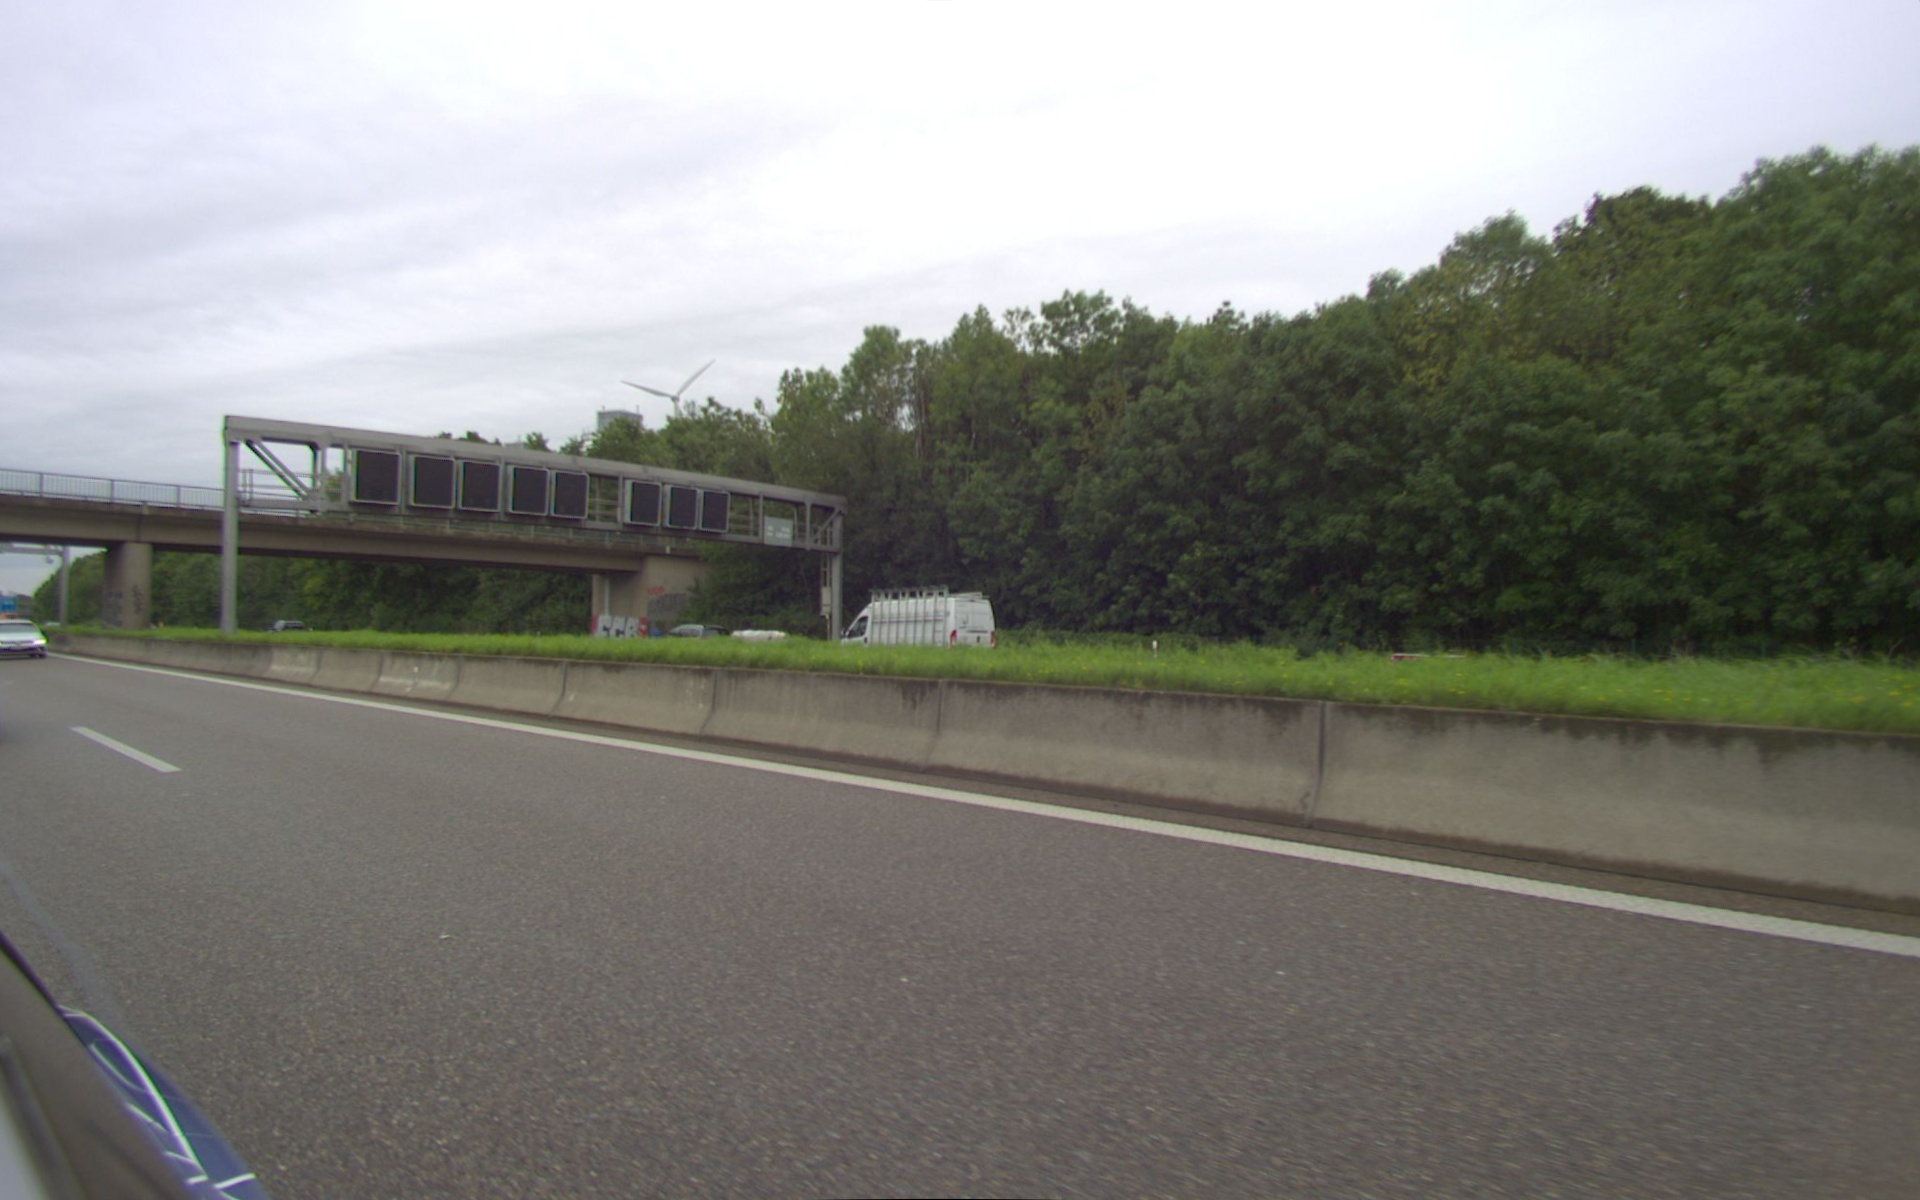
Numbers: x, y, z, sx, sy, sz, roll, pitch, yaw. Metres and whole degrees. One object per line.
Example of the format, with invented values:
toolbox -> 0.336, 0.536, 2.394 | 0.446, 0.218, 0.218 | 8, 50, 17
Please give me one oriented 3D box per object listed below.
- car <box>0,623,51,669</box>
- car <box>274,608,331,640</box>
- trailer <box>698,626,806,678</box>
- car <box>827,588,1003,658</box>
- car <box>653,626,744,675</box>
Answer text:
car -> -36.097, 1.713, 38.480 | 4.662, 1.630, 1.734 | -1, -2, 41
car -> -41.537, 1.522, 63.908 | 3.998, 1.954, 1.973 | -1, -1, 41
trailer -> -9.090, 2.194, 43.998 | 5.177, 2.029, 1.972 | -1, 0, 43
car -> -1.592, 0.707, 33.300 | 6.066, 2.100, 2.173 | -1, 0, 43
car -> -12.119, 2.280, 46.715 | 4.364, 2.029, 1.973 | -1, 0, 41
